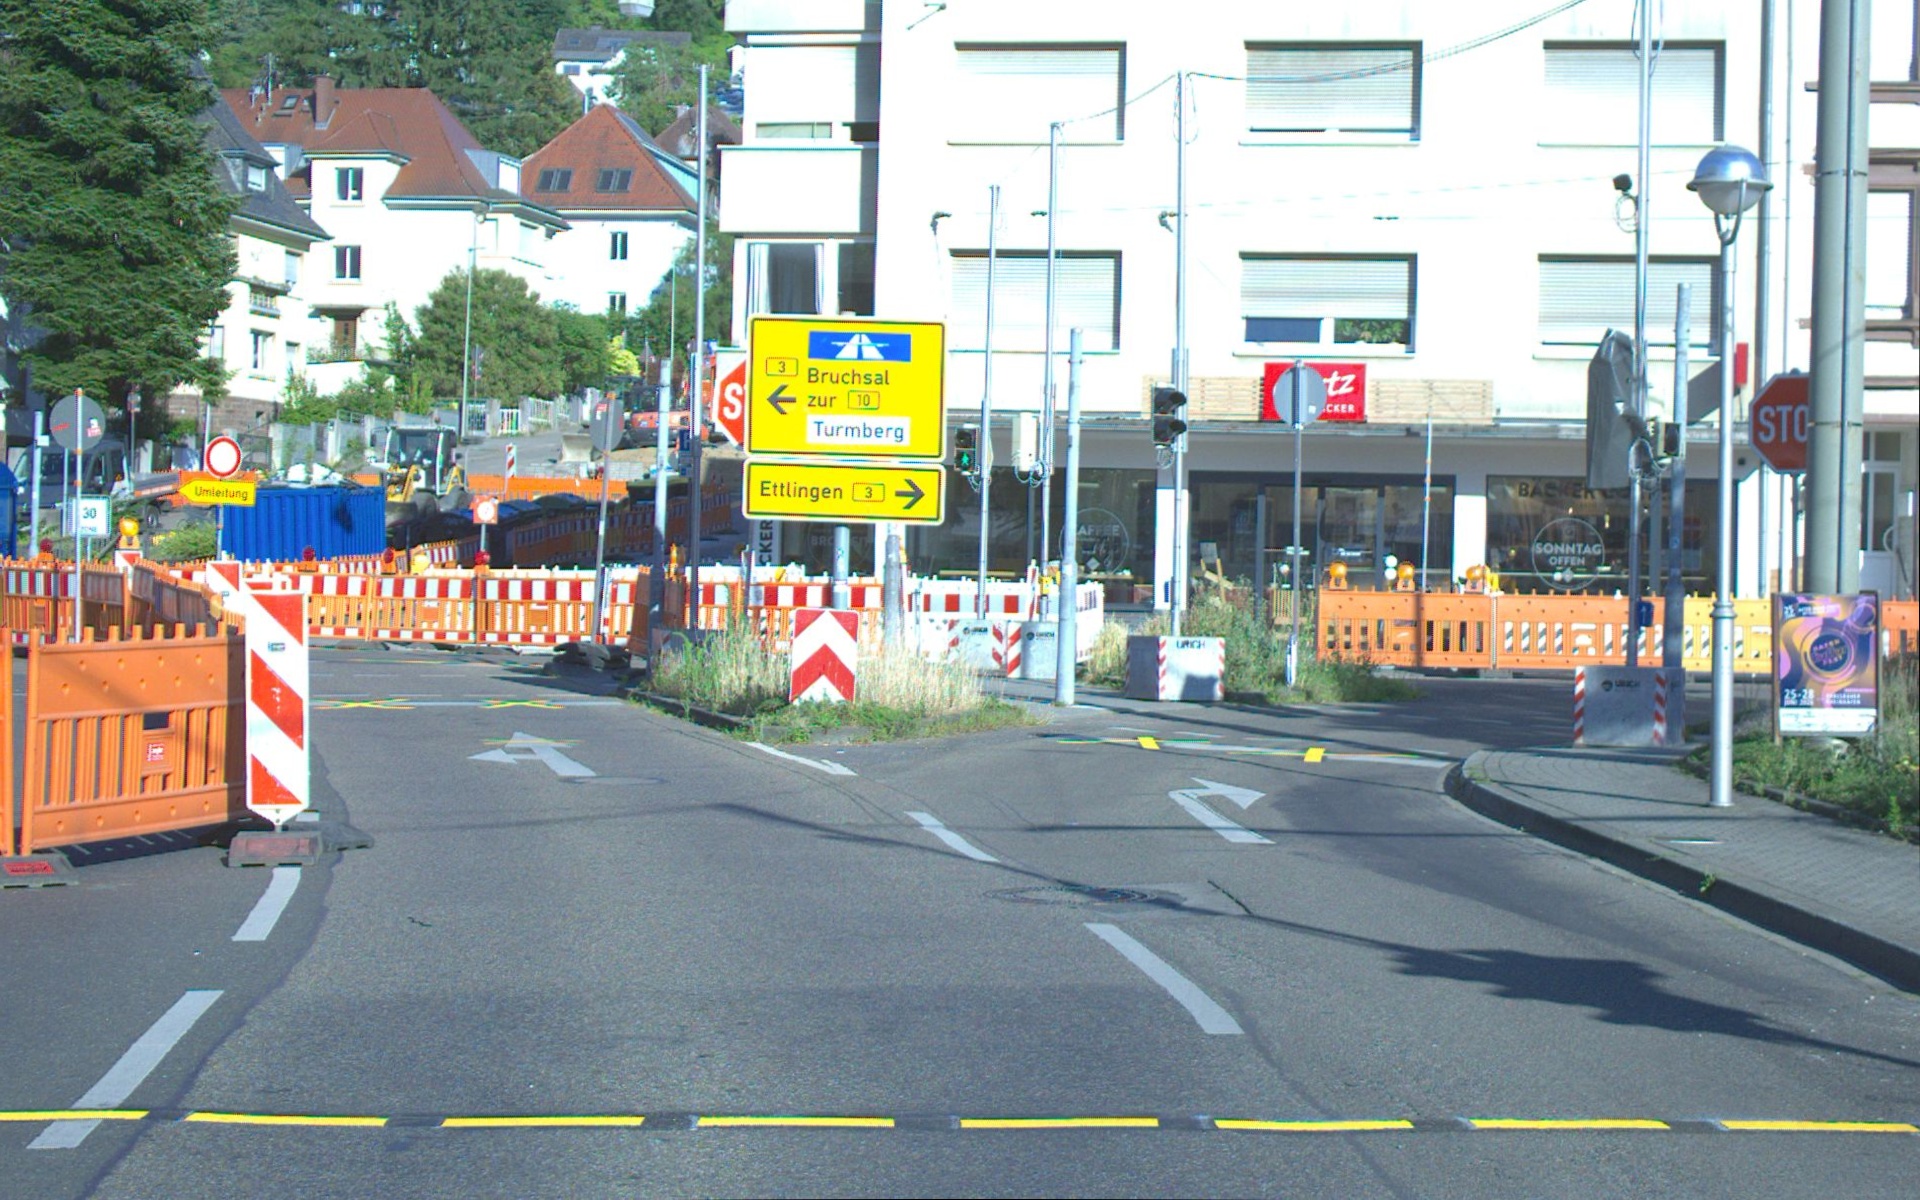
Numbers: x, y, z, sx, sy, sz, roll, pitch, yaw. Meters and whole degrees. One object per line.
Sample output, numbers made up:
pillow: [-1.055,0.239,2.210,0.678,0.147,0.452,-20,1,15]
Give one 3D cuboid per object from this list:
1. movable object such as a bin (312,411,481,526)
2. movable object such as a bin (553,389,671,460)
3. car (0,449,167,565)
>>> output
movable object such as a bin: [-12.889,-2.991,78.954,1.950,2.486,4.547,1,1,18]
movable object such as a bin: [-11.592,-5.842,114.848,2.566,2.114,5.782,1,1,8]
car: [-18.005,-1.754,66.140,2.585,2.113,6.145,1,1,18]
